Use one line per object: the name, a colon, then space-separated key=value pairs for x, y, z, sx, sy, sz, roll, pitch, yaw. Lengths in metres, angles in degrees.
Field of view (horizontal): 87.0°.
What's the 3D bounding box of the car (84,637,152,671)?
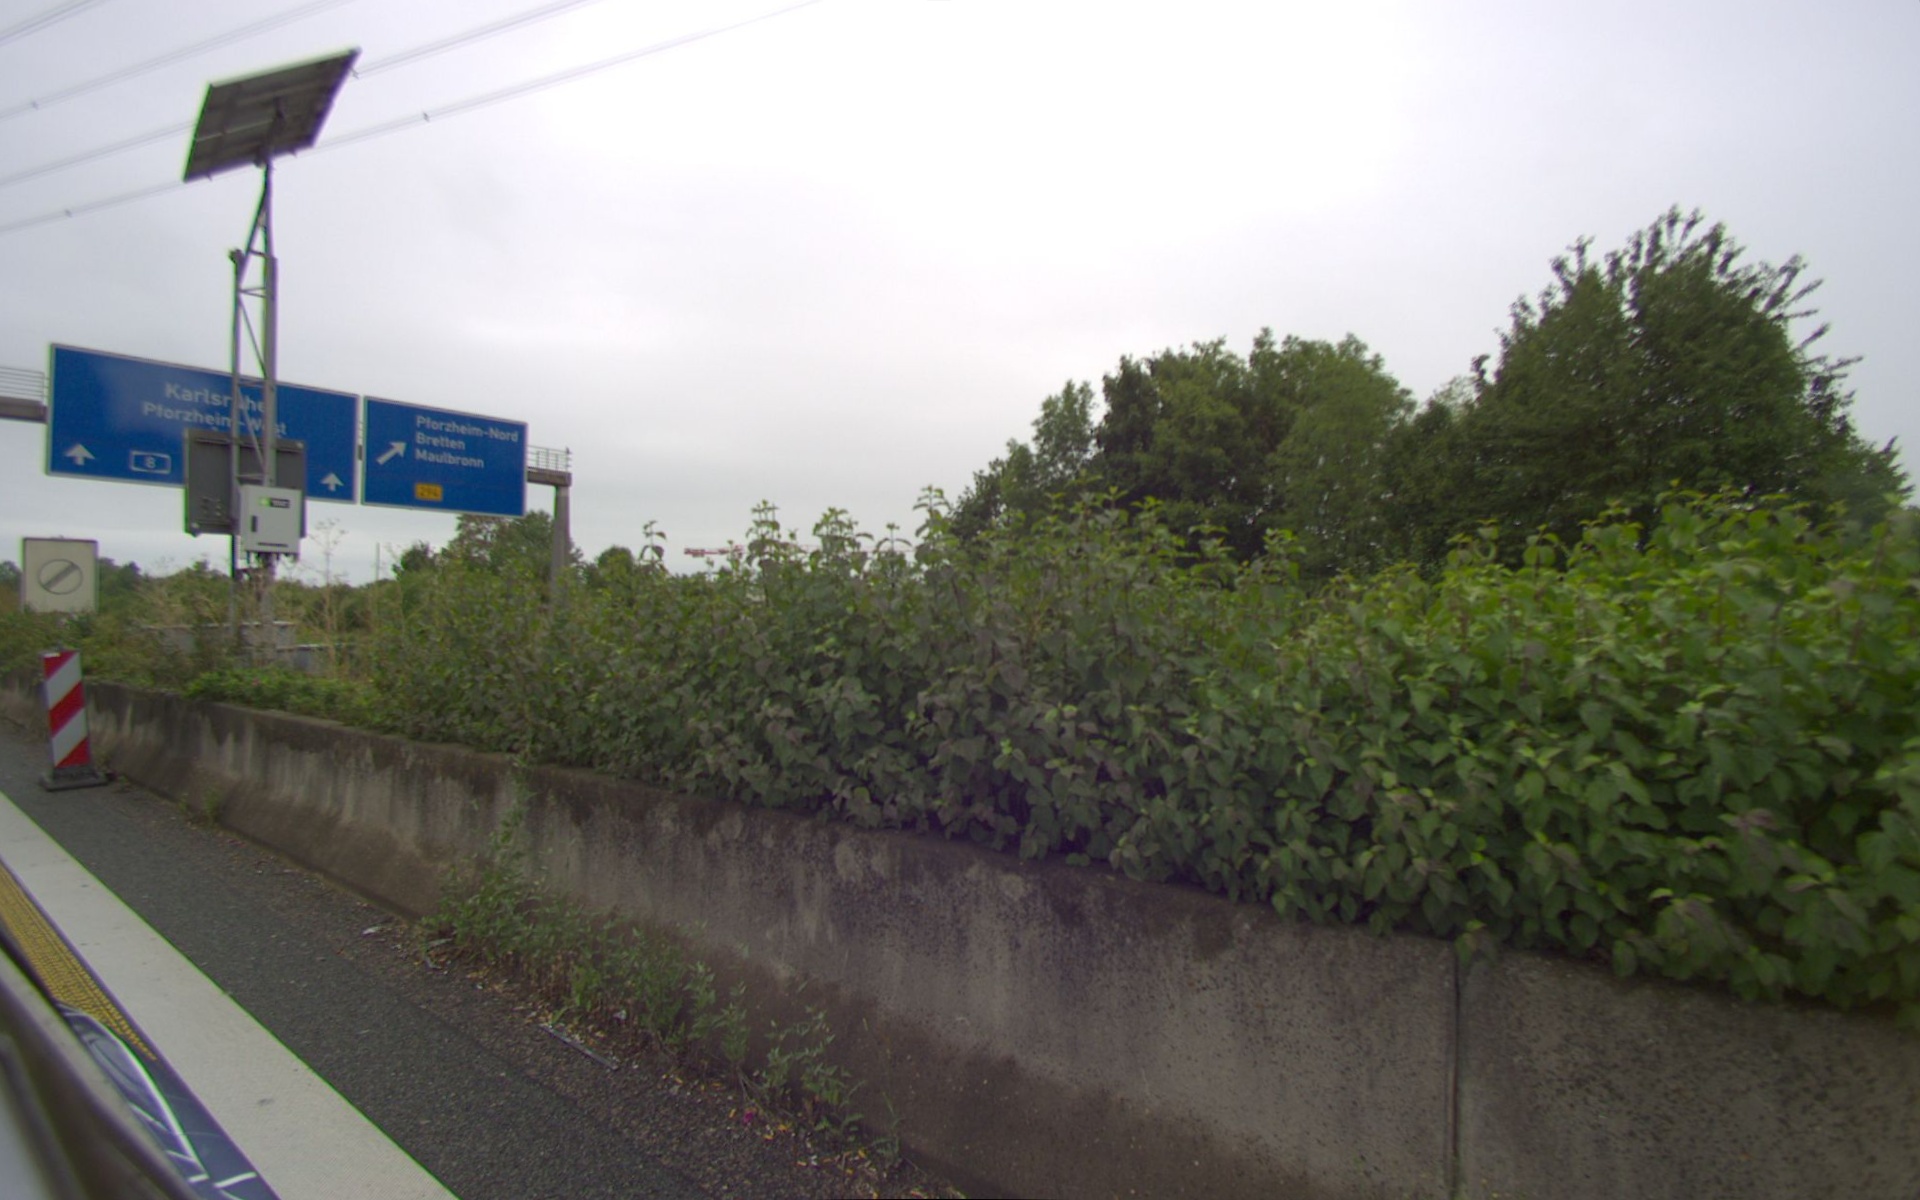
car: x=-41.984 y=2.663 z=50.445 sx=3.998 sy=1.539 sz=1.973 roll=-1 pitch=-1 yaw=41
